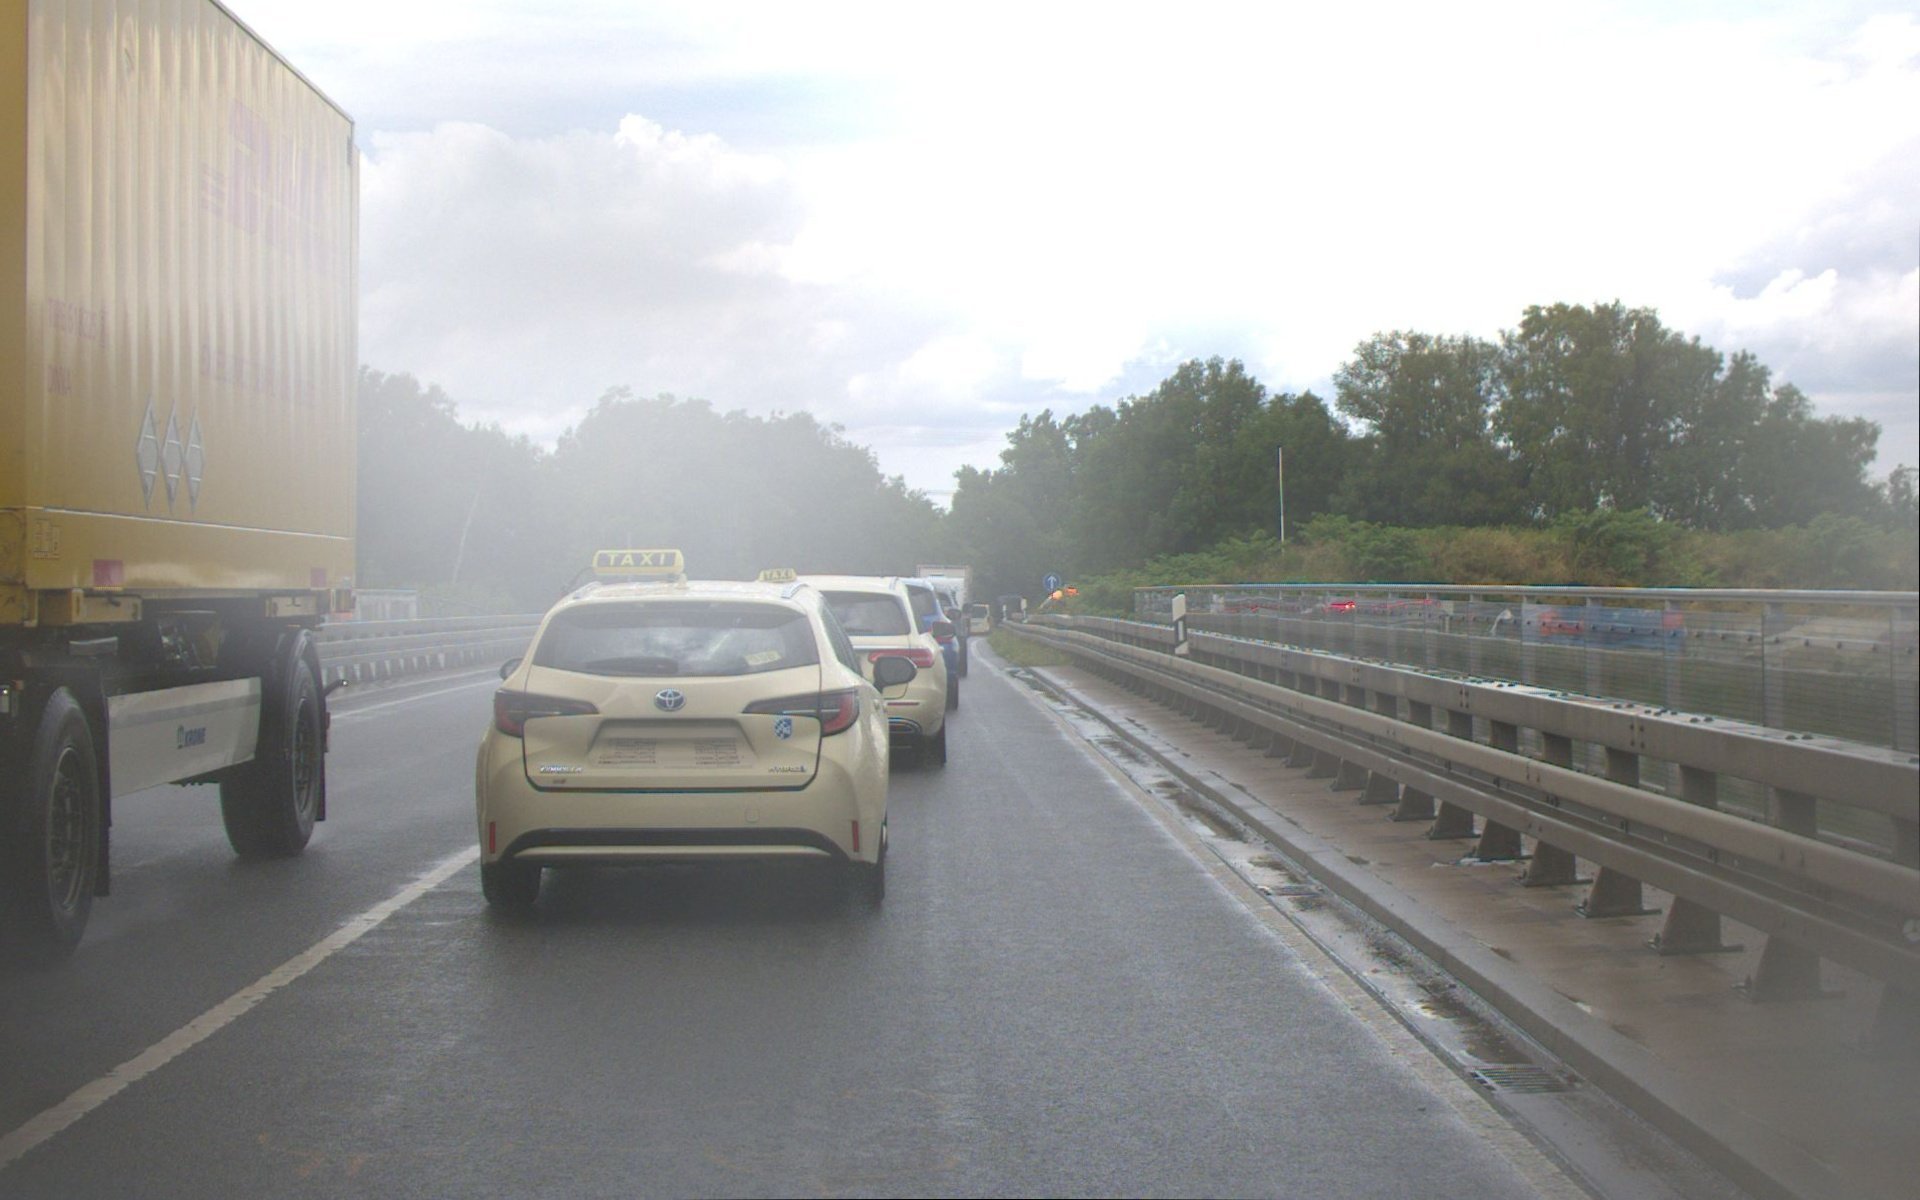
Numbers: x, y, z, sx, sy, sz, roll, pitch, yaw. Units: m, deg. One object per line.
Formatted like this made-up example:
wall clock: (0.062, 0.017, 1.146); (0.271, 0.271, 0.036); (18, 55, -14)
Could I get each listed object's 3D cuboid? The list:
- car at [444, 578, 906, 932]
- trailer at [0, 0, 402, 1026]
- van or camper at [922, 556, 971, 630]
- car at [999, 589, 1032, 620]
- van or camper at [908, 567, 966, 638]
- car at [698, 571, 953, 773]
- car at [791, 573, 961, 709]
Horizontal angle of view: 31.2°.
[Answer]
car: (-1.195, 0.619, 16.113); (1.854, 1.389, 4.171); (1, 1, -1)
trailer: (-4.443, -0.717, 14.986); (2.682, 4.061, 8.485); (0, 1, 0)
van or camper: (-0.698, -0.347, 169.609); (2.332, 3.550, 6.307); (1, 0, -1)
car: (3.726, 0.319, 230.348); (1.993, 2.007, 4.000); (1, 0, -1)
van or camper: (-0.987, 0.087, 144.743); (2.332, 2.854, 6.307); (1, 0, -1)
car: (-1.018, 0.510, 27.392); (1.854, 1.438, 4.171); (1, 1, -1)
car: (-0.957, 0.434, 39.950); (1.854, 1.438, 4.171); (1, 1, -1)
